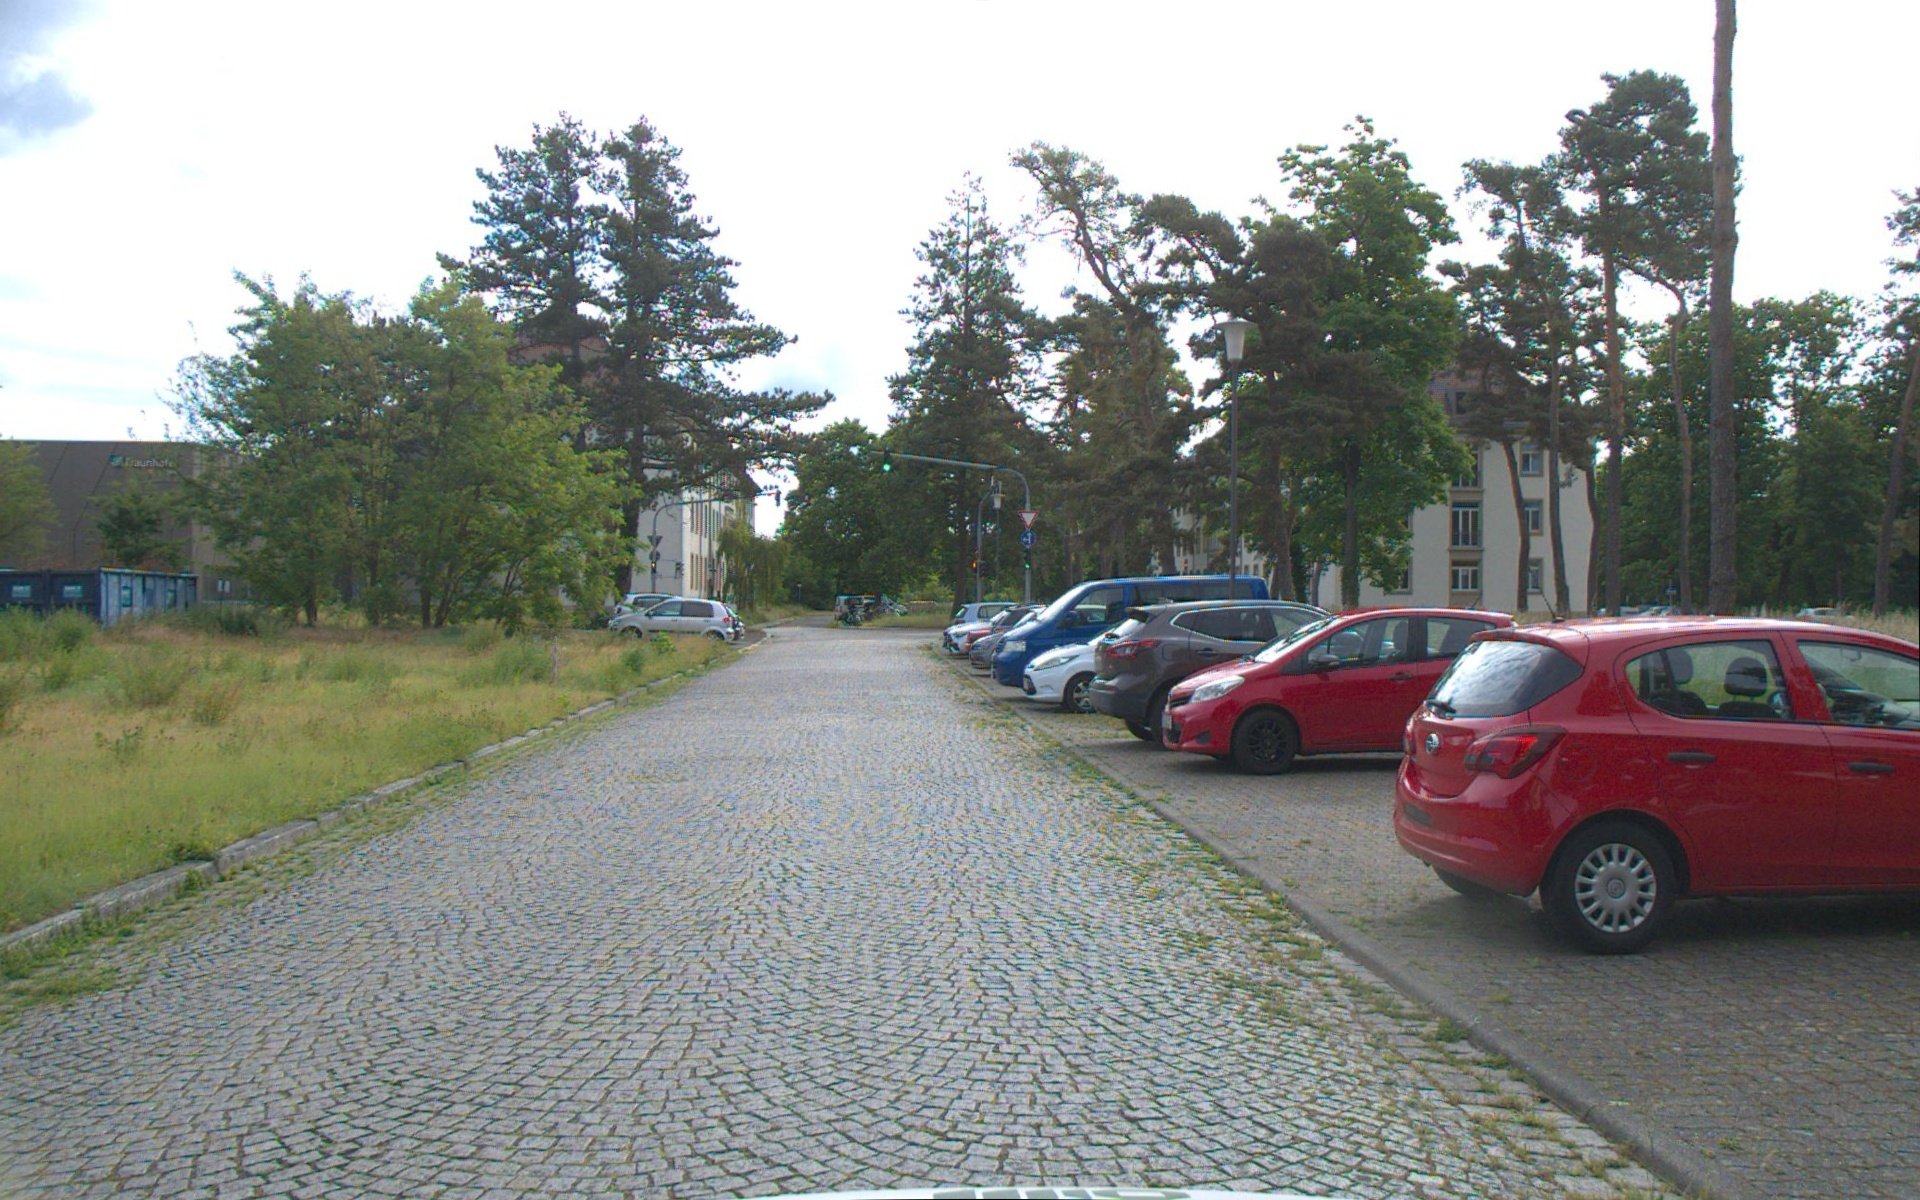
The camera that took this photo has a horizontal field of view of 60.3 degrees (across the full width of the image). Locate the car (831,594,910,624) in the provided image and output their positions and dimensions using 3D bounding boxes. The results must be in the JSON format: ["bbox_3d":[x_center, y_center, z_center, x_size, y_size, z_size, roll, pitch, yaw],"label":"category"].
[{"bbox_3d":[-6.375,0.626,117.642,5.351,2.049,2.261,1,0,-13],"label":"car"}]

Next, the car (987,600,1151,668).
[{"bbox_3d":[2.513,0.769,38.540,3.601,1.475,1.522,-1,0,-6],"label":"car"}]

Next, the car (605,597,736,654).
[{"bbox_3d":[-8.611,0.765,49.464,3.749,1.600,1.562,-1,0,-7],"label":"car"}]

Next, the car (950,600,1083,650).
[{"bbox_3d":[1.723,0.763,51.255,3.894,1.446,1.617,-1,0,-8],"label":"car"}]

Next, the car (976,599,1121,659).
[{"bbox_3d":[2.302,0.763,43.524,3.601,1.475,1.522,-1,0,-6],"label":"car"}]

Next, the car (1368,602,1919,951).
[{"bbox_3d":[4.186,0.776,8.350,3.751,1.486,1.777,-1,0,-5],"label":"car"}]

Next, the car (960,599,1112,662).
[{"bbox_3d":[1.871,0.751,41.206,3.601,1.475,1.522,-1,0,-6],"label":"car"}]

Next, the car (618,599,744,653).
[{"bbox_3d":[-8.724,0.809,51.877,3.746,1.600,1.563,-1,0,-5],"label":"car"}]

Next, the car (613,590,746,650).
[{"bbox_3d":[-9.256,0.649,54.833,4.178,1.873,1.742,-1,0,-5],"label":"car"}]

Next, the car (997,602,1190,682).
[{"bbox_3d":[2.610,0.806,32.769,3.601,1.475,1.522,-1,0,-6],"label":"car"}]

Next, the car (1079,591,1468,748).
[{"bbox_3d":[3.441,0.737,18.556,3.951,1.580,1.748,-1,0,-6],"label":"car"}]

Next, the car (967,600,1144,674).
[{"bbox_3d":[2.018,0.777,35.512,3.601,1.475,1.522,-1,0,-6],"label":"car"}]

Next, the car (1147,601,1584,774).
[{"bbox_3d":[3.806,0.793,15.926,3.717,1.486,1.750,-1,0,-4],"label":"car"}]

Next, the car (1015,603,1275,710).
[{"bbox_3d":[2.738,0.816,24.894,3.601,1.475,1.612,-1,0,-6],"label":"car"}]

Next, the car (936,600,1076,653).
[{"bbox_3d":[1.334,0.774,48.573,3.894,1.446,1.617,-1,0,-8],"label":"car"}]

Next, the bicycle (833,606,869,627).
[{"bbox_3d":[-6.514,0.984,99.178,2.097,1.236,0.621,1,-1,-8],"label":"bicycle"}]

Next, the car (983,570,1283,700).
[{"bbox_3d":[2.812,0.565,27.498,4.662,1.989,1.929,-1,0,-6],"label":"car"}]

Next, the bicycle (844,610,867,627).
[{"bbox_3d":[-6.029,1.080,95.648,0.614,0.961,1.645,1,0,-31],"label":"bicycle"}]

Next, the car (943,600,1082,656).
[{"bbox_3d":[1.432,0.763,45.720,3.603,1.446,1.521,-1,0,-8],"label":"car"}]

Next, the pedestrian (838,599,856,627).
[{"bbox_3d":[-6.779,0.781,99.342,1.014,1.642,0.756,1,-1,-10],"label":"pedestrian"}]
